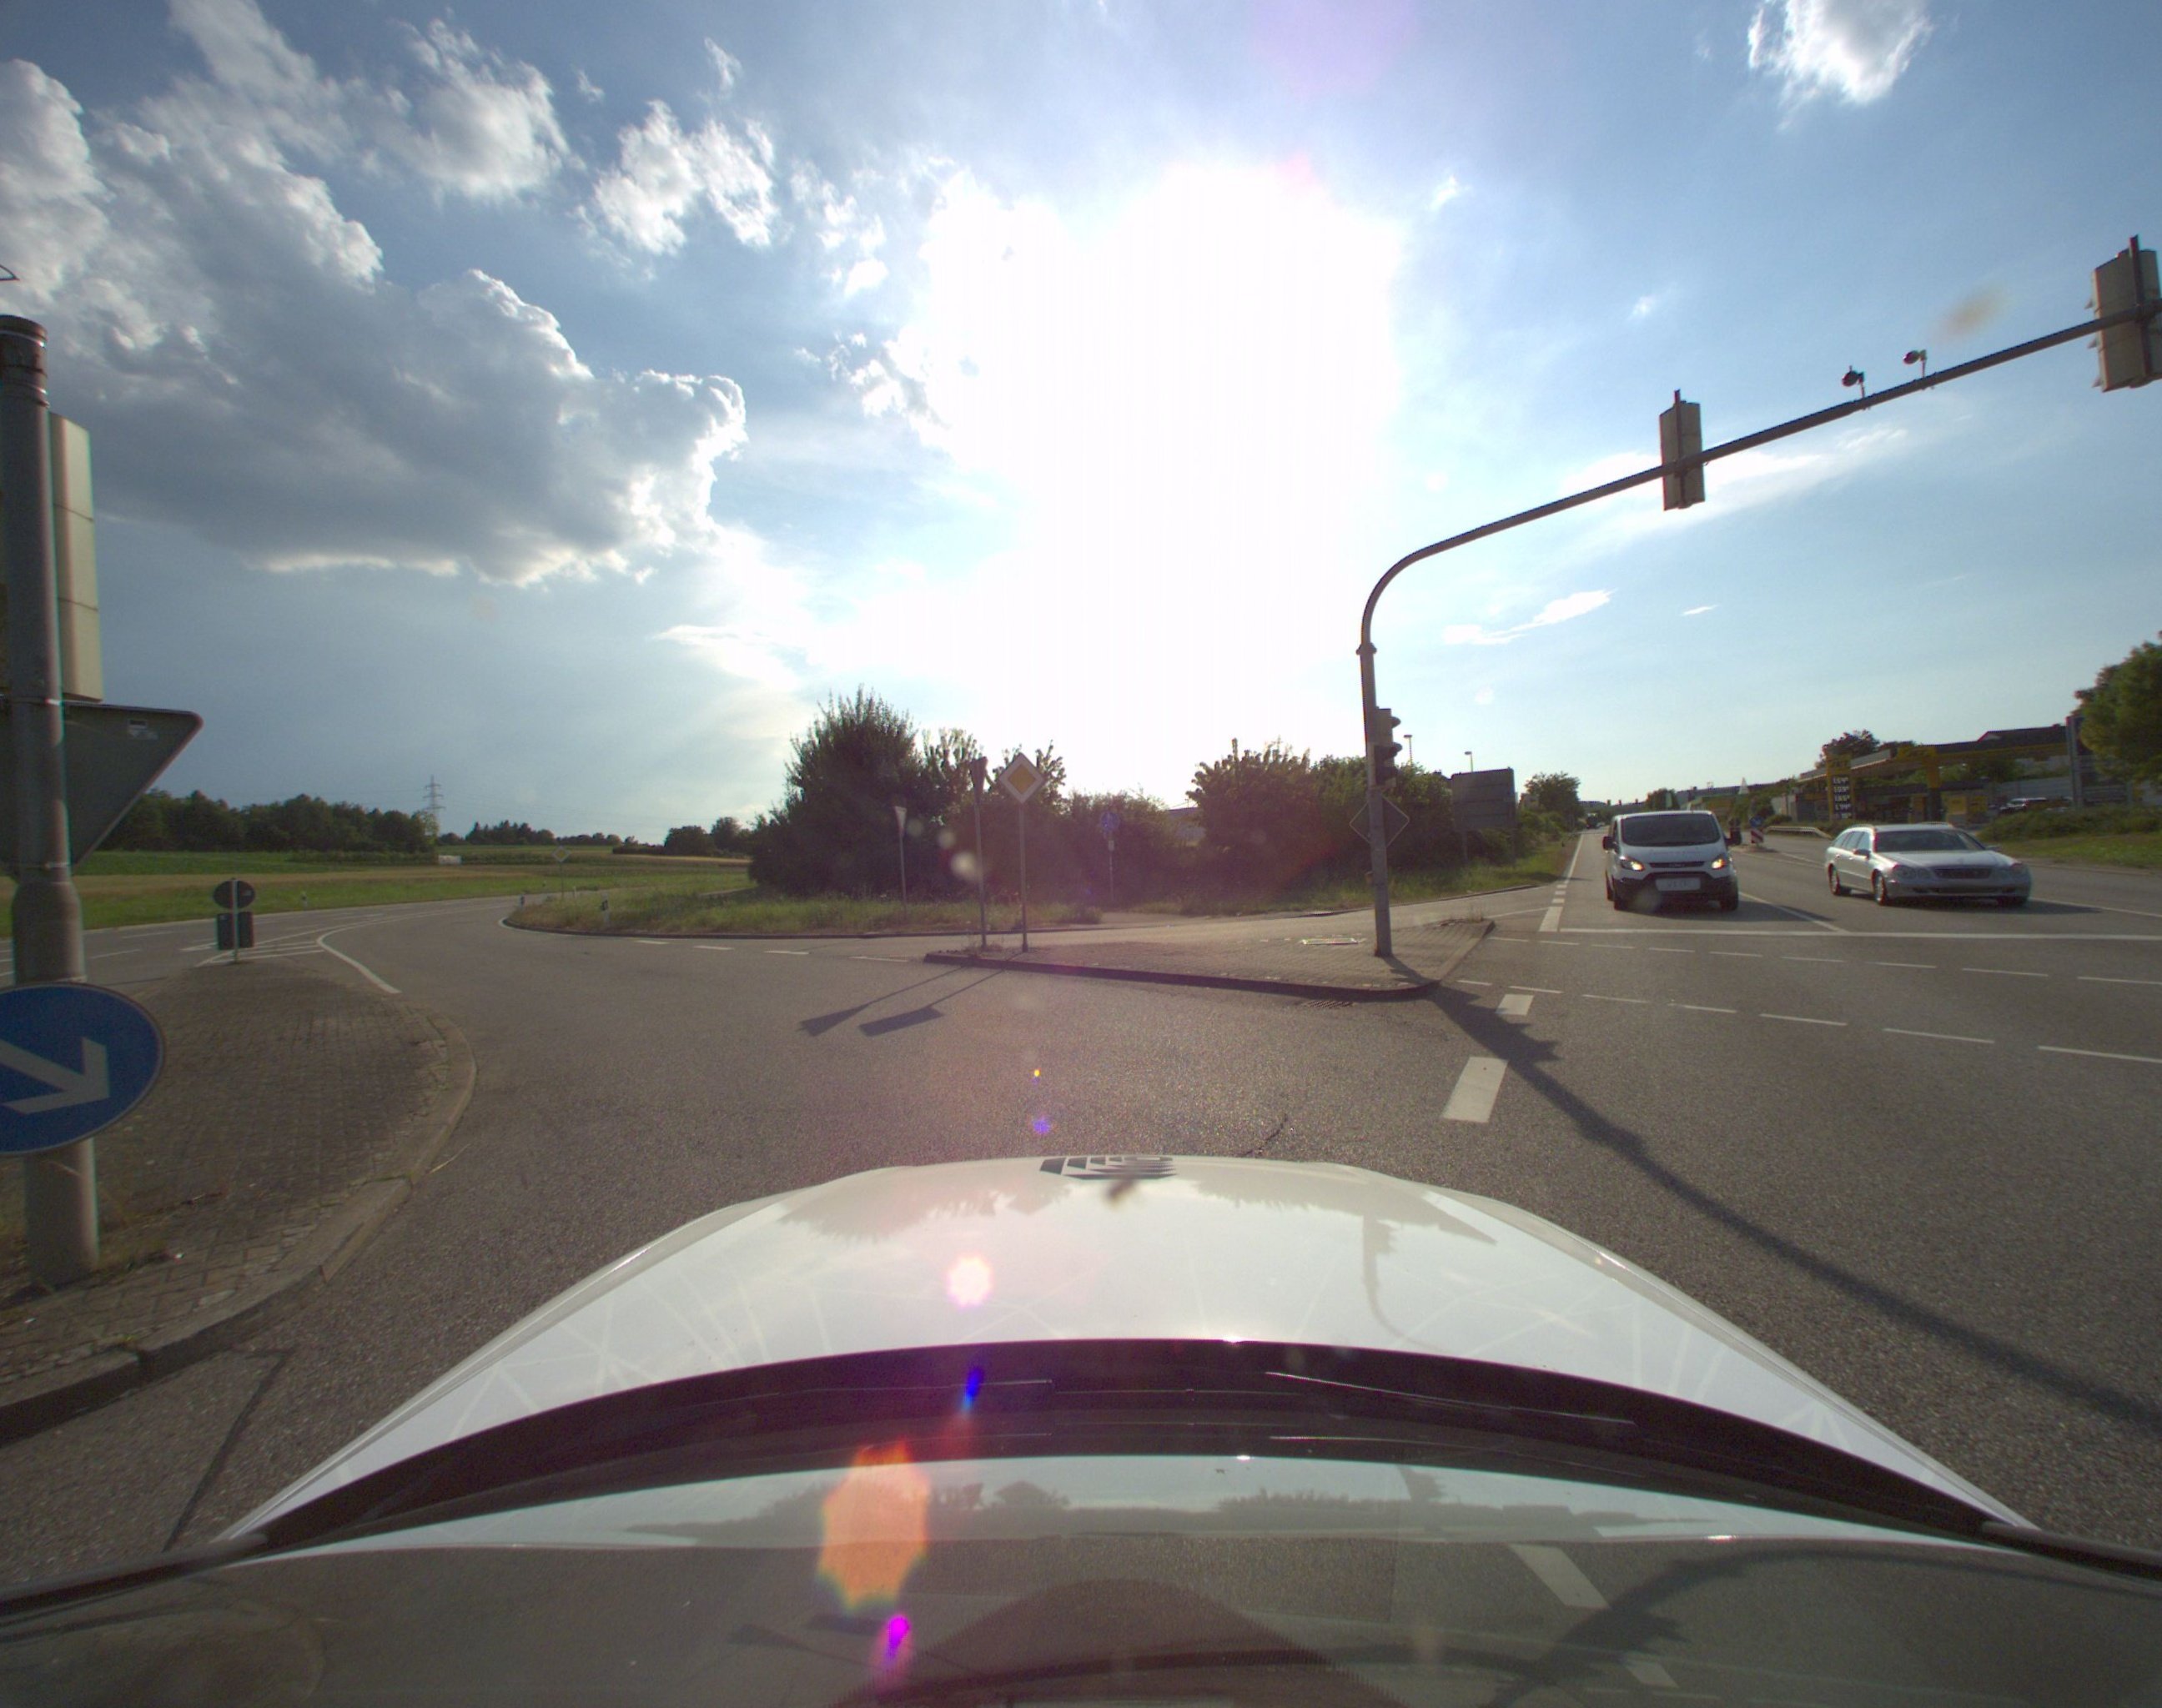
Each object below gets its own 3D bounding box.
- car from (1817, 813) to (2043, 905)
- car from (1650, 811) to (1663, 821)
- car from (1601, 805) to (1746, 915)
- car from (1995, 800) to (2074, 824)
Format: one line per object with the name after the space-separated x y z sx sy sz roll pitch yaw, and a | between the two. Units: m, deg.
16.282 0.087 15.959 1.839 1.513 4.984 -2 -1 32 | car
133.736 -8.761 189.183 1.975 2.014 4.024 -2 -1 28 | car
12.142 0.046 16.991 1.882 1.947 4.849 -2 1 30 | car
70.015 -3.049 59.917 2.261 1.375 4.886 -2 -1 30 | car
